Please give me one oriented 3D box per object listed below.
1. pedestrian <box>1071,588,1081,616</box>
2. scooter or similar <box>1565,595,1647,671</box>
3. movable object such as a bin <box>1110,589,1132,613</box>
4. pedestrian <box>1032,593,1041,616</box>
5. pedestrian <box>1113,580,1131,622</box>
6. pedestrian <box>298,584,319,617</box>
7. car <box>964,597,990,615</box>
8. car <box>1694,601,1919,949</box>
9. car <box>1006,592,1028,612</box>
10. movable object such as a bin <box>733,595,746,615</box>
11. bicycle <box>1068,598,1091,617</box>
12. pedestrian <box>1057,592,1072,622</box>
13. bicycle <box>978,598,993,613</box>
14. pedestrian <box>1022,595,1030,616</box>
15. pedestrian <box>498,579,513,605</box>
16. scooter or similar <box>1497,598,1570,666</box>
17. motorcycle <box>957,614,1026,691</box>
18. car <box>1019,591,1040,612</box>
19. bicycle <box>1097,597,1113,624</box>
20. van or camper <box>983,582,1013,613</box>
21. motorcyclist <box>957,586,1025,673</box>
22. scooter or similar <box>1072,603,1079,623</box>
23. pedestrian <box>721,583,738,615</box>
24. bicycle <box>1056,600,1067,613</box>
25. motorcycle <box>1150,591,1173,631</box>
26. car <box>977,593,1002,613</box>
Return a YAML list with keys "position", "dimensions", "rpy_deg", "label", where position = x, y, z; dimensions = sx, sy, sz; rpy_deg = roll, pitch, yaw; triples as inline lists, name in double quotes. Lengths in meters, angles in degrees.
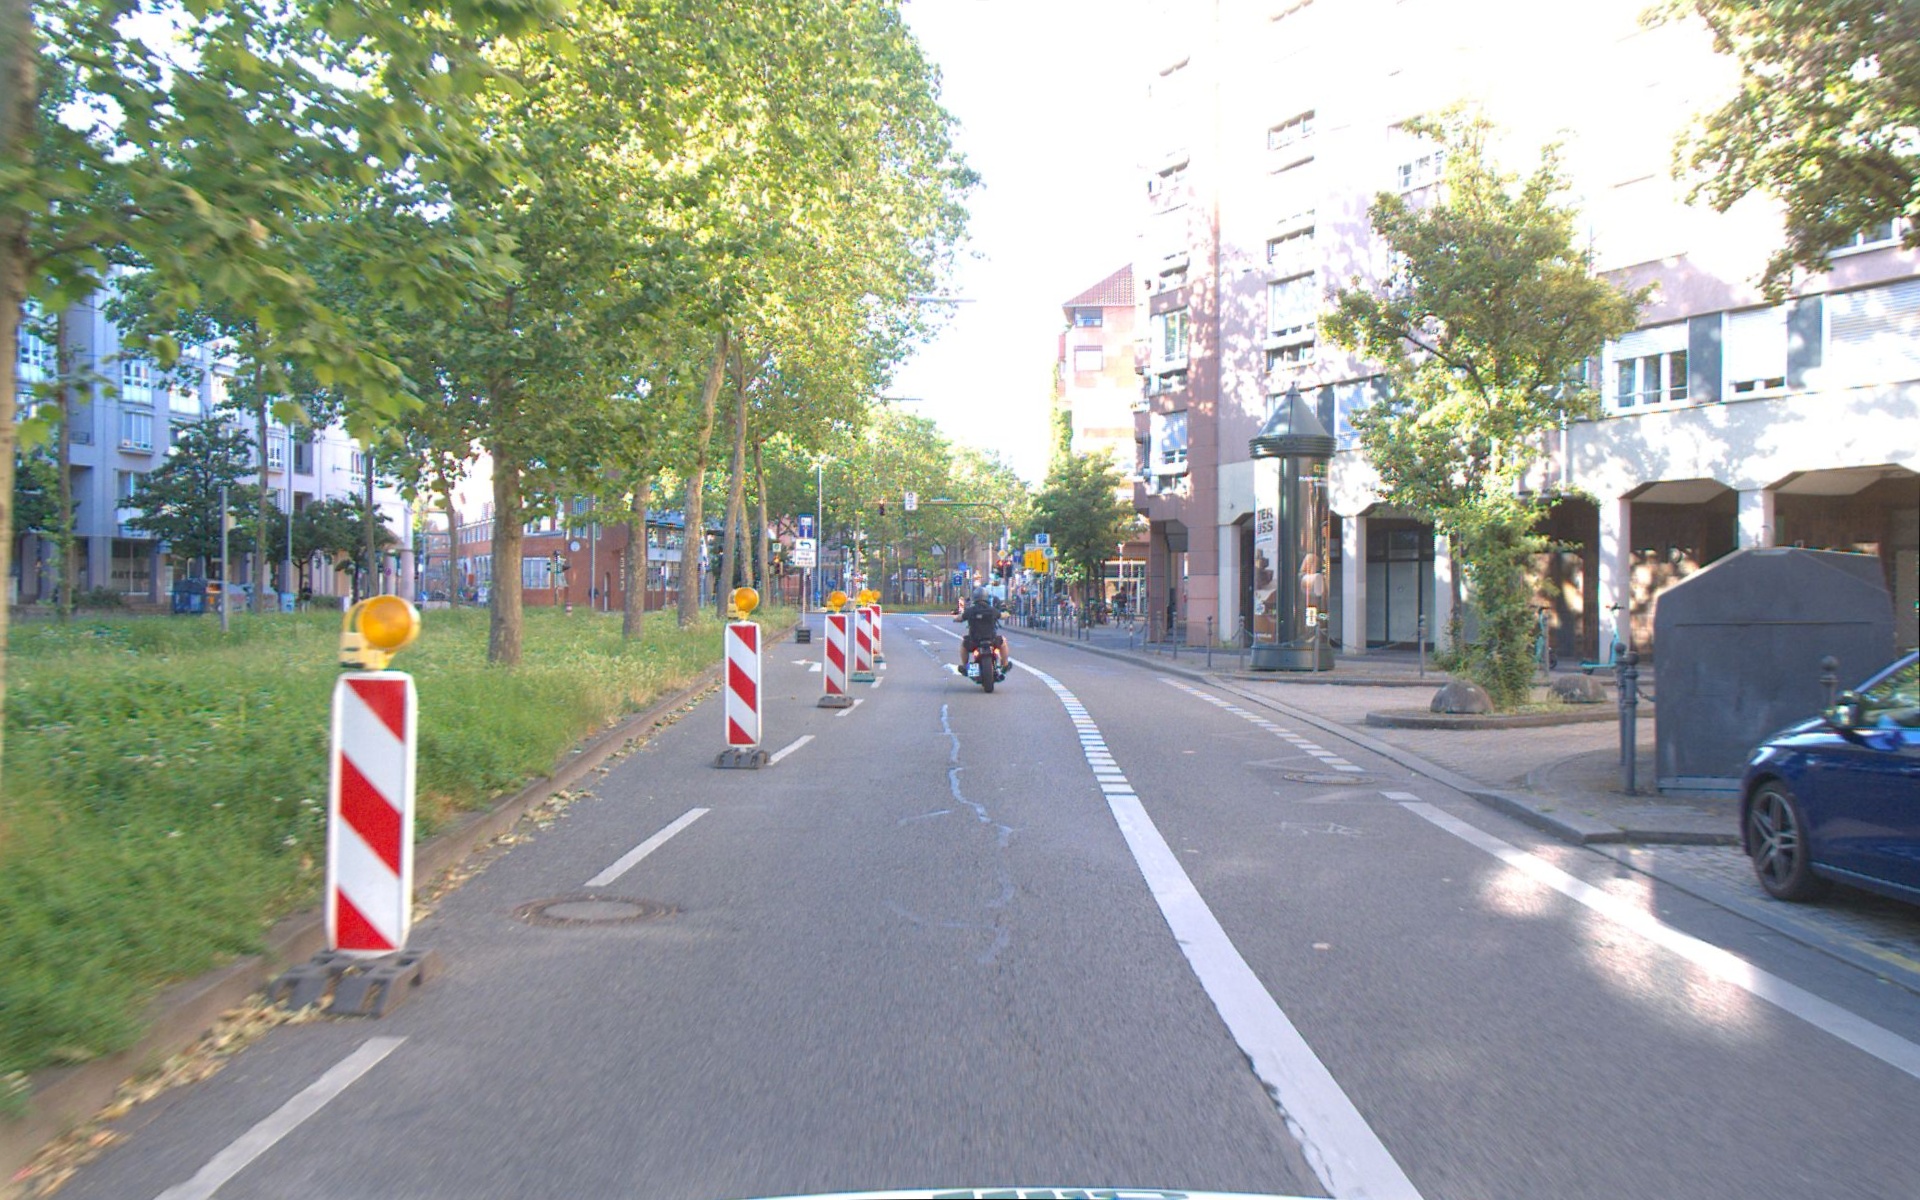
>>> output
- position: [7.050, 0.105, 100.422]
  dimensions: [0.450, 1.702, 0.678]
  rpy_deg: [0, 0, -9]
  label: "pedestrian"
- position: [11.348, 0.559, 29.096]
  dimensions: [0.477, 1.296, 1.441]
  rpy_deg: [0, 0, -22]
  label: "scooter or similar"
- position: [10.439, 0.053, 107.134]
  dimensions: [1.380, 1.508, 0.872]
  rpy_deg: [0, 0, 9]
  label: "movable object such as a bin"
- position: [5.914, 0.349, 128.065]
  dimensions: [0.686, 1.764, 0.768]
  rpy_deg: [0, 0, 1]
  label: "pedestrian"
- position: [6.835, 0.051, 69.816]
  dimensions: [0.764, 1.769, 0.837]
  rpy_deg: [0, 0, 6]
  label: "pedestrian"
- position: [-33.444, 0.005, 84.882]
  dimensions: [0.692, 1.667, 0.789]
  rpy_deg: [0, 0, 8]
  label: "pedestrian"
- position: [1.317, 0.429, 125.380]
  dimensions: [1.586, 1.325, 4.314]
  rpy_deg: [0, 0, 5]
  label: "car"
- position: [5.105, 0.787, 7.478]
  dimensions: [1.667, 1.509, 4.248]
  rpy_deg: [-1, 0, 0]
  label: "car"
- position: [5.485, 0.150, 159.559]
  dimensions: [1.585, 1.898, 3.777]
  rpy_deg: [0, 0, 10]
  label: "car"
- position: [-10.877, 0.247, 81.699]
  dimensions: [0.499, 0.970, 0.540]
  rpy_deg: [0, 0, 10]
  label: "movable object such as a bin"
- position: [7.909, 0.482, 109.615]
  dimensions: [1.534, 1.248, 0.578]
  rpy_deg: [0, 0, 3]
  label: "bicycle"
- position: [6.299, 0.437, 99.675]
  dimensions: [0.774, 1.794, 0.606]
  rpy_deg: [0, 0, -21]
  label: "pedestrian"
- position: [1.817, 0.400, 118.307]
  dimensions: [0.724, 1.071, 1.747]
  rpy_deg: [0, 0, -12]
  label: "bicycle"
- position: [5.096, 0.455, 128.053]
  dimensions: [0.631, 1.606, 0.748]
  rpy_deg: [0, 0, 1]
  label: "pedestrian"
- position: [-33.043, -0.559, 120.252]
  dimensions: [0.837, 1.902, 0.752]
  rpy_deg: [0, 0, 5]
  label: "pedestrian"
- position: [10.824, 0.591, 31.259]
  dimensions: [0.477, 1.238, 1.441]
  rpy_deg: [0, 0, -22]
  label: "scooter or similar"
- position: [0.470, 0.793, 25.805]
  dimensions: [0.997, 1.116, 2.007]
  rpy_deg: [1, 0, -1]
  label: "motorcycle"
- position: [6.978, 0.136, 165.873]
  dimensions: [1.796, 2.049, 4.391]
  rpy_deg: [0, 0, 6]
  label: "car"
- position: [6.869, 0.472, 78.317]
  dimensions: [0.608, 1.247, 1.928]
  rpy_deg: [0, 0, 9]
  label: "bicycle"
- position: [3.326, -0.239, 141.846]
  dimensions: [2.005, 2.585, 5.777]
  rpy_deg: [0, 0, 7]
  label: "van or camper"
- position: [0.473, 0.450, 25.850]
  dimensions: [0.991, 1.285, 0.774]
  rpy_deg: [3, 0, -1]
  label: "motorcyclist"
- position: [6.923, 0.755, 99.361]
  dimensions: [0.386, 1.178, 1.250]
  rpy_deg: [0, 0, 3]
  label: "scooter or similar"
- position: [-11.353, -0.049, 81.463]
  dimensions: [0.606, 1.530, 0.534]
  rpy_deg: [0, 0, 23]
  label: "pedestrian"
- position: [7.203, 0.462, 117.846]
  dimensions: [0.722, 0.956, 1.752]
  rpy_deg: [0, 0, 1]
  label: "bicycle"
- position: [7.237, 0.382, 59.494]
  dimensions: [0.478, 1.396, 2.089]
  rpy_deg: [0, 0, -3]
  label: "motorcycle"
- position: [2.410, 0.246, 135.149]
  dimensions: [1.586, 1.647, 4.488]
  rpy_deg: [0, 0, 6]
  label: "car"
